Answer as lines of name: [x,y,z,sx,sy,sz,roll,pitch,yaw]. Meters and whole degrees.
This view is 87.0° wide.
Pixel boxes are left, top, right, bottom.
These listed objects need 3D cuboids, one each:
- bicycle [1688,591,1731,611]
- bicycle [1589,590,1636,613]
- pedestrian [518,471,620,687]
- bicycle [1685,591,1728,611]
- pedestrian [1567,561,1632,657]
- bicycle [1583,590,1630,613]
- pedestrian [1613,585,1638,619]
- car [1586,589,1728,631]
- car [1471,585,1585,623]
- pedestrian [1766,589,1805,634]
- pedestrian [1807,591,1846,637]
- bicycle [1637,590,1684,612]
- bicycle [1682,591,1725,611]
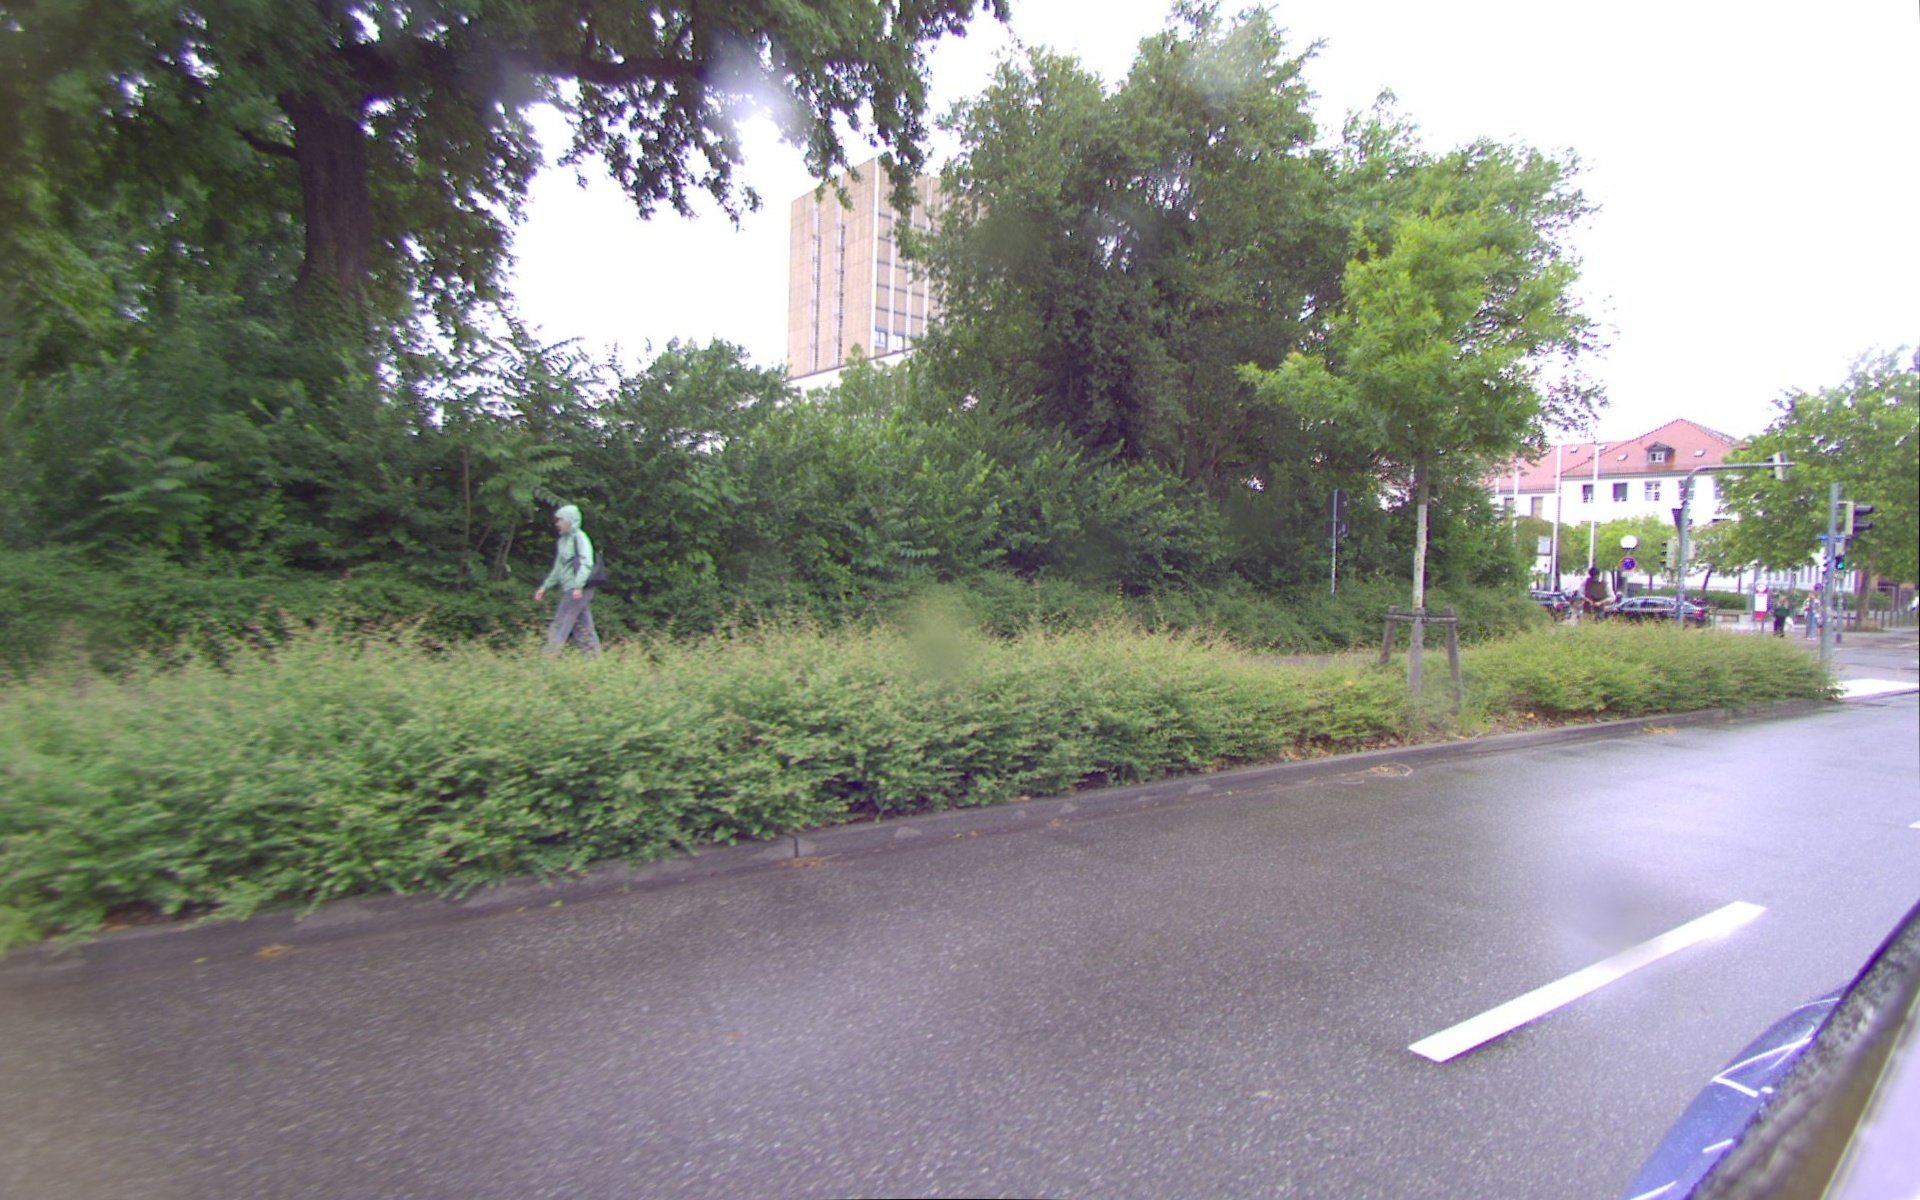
bicycle: [51.932,0.051,70.138,2.278,1.237,0.590,4,2,42]
bicycle: [39.289,0.079,60.928,2.278,1.237,0.590,4,2,42]
pedestrian: [-3.920,-0.209,10.115,0.812,2.038,0.794,1,2,-29]
bicycle: [51.185,0.053,69.377,2.278,1.237,0.590,4,2,42]
pedestrian: [12.917,0.168,20.455,0.833,1.882,0.733,1,2,-29]
bicycle: [38.594,0.073,60.412,2.278,1.237,0.590,4,2,42]
pedestrian: [35.180,0.085,53.545,0.840,1.759,1.115,2,1,22]
car: [27.904,0.363,40.624,1.742,1.353,4.387,-3,4,-39]
car: [24.865,0.121,44.422,1.741,1.394,4.016,-3,4,-37]
pedestrian: [30.706,0.422,37.652,0.868,1.627,0.856,2,2,25]
pedestrian: [31.525,0.487,36.833,0.871,1.627,0.854,3,2,32]
bicycle: [43.223,0.026,62.435,2.278,1.237,0.590,4,2,42]
bicycle: [50.450,0.051,68.706,2.278,1.237,0.590,4,2,42]
